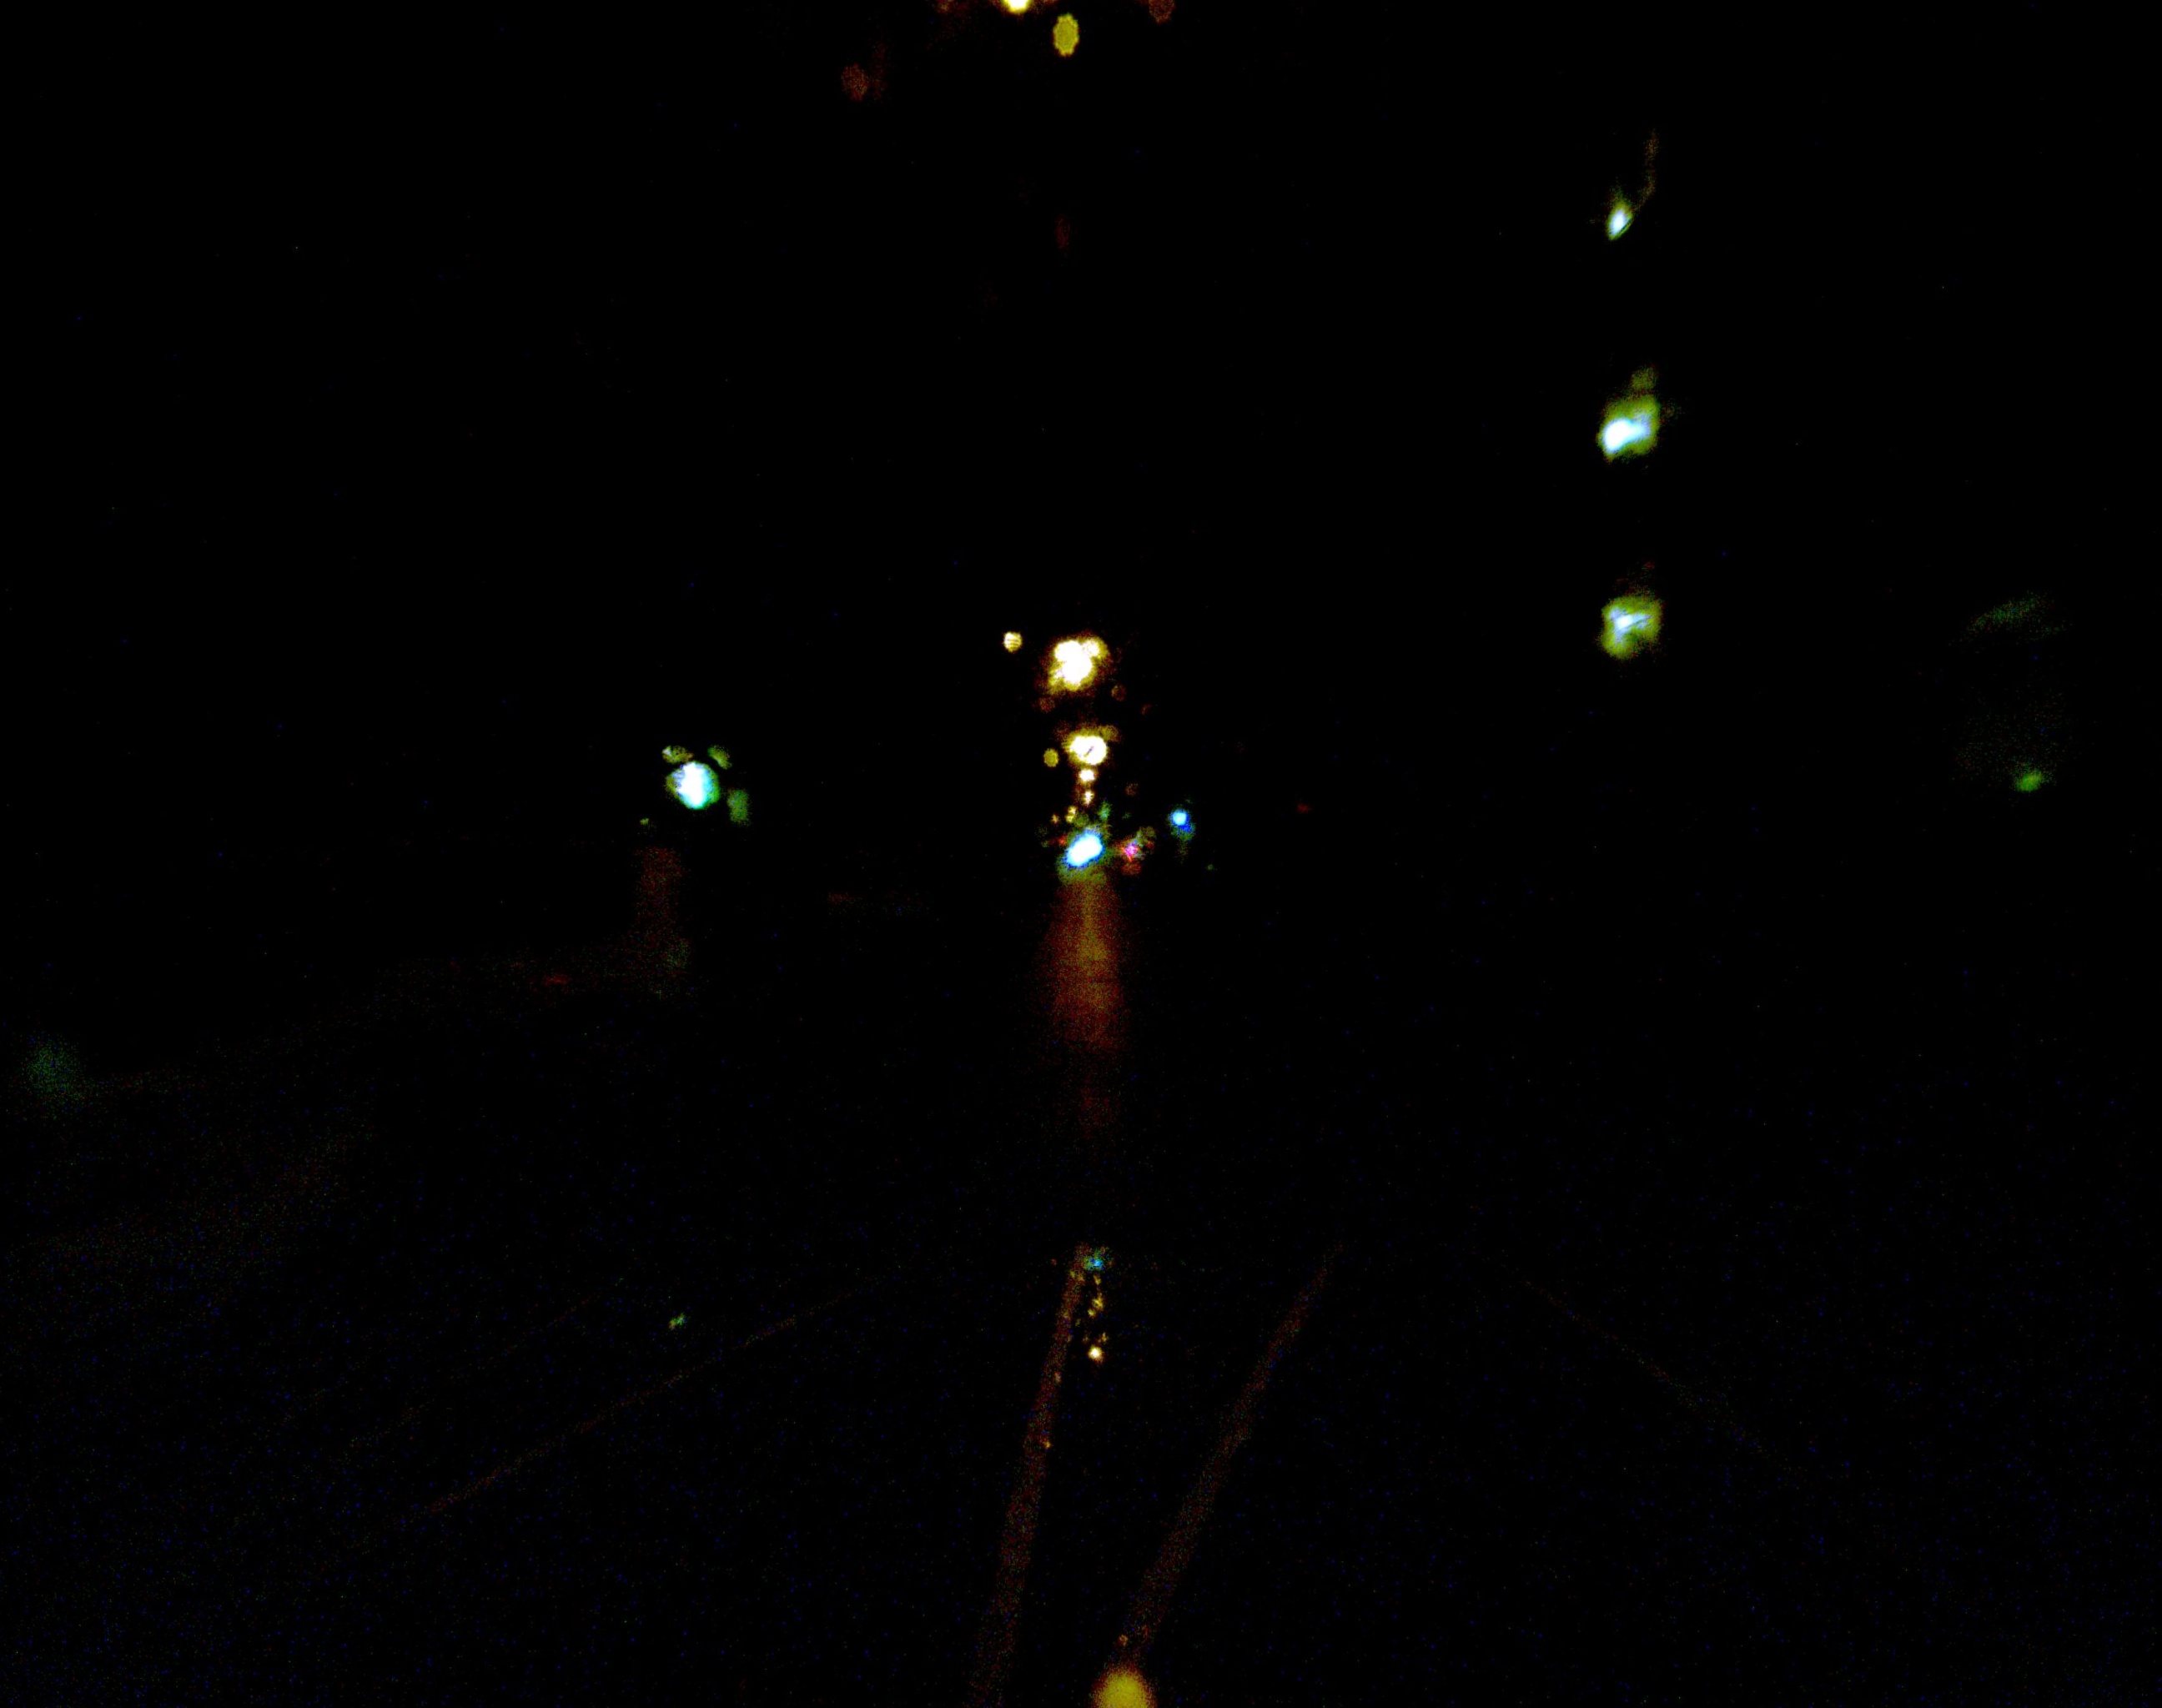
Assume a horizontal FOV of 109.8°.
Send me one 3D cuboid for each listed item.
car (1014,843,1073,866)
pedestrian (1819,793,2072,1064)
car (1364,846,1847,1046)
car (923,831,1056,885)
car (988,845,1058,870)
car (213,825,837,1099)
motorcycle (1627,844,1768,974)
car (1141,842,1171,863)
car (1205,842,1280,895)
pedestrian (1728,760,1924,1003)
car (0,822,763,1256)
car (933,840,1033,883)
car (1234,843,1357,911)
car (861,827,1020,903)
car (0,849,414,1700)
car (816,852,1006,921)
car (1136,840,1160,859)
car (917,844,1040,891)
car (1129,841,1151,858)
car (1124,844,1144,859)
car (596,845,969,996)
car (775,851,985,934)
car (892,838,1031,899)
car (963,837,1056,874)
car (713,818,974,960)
[{"bbox_3d":[-2.778,0.028,55.654,3.939,1.553,1.707,1,1,-22],"label":"car"},{"bbox_3d":[6.379,0.501,5.683,0.676,1.822,1.078,-2,1,3],"label":"pedestrian"},{"bbox_3d":[4.907,0.674,8.267,1.851,1.470,5.030,-1,1,1],"label":"car"},{"bbox_3d":[-3.565,0.177,29.727,4.719,1.969,1.974,1,1,-28],"label":"car"},{"bbox_3d":[-3.610,0.232,47.007,3.939,1.455,1.707,1,1,-22],"label":"car"},{"bbox_3d":[-4.261,0.676,6.471,3.801,1.703,1.744,1,1,-34],"label":"car"},{"bbox_3d":[7.532,0.614,9.363,0.538,1.462,1.457,-2,1,0],"label":"motorcycle"},{"bbox_3d":[5.610,-0.107,56.982,1.851,1.470,3.734,-2,1,1],"label":"car"},{"bbox_3d":[5.018,0.394,24.035,1.720,1.470,3.786,-2,1,3],"label":"car"},{"bbox_3d":[7.287,0.248,7.508,0.801,2.228,1.116,0,1,0],"label":"pedestrian"},{"bbox_3d":[-3.946,0.720,4.212,3.747,1.703,1.767,1,1,-34],"label":"car"},{"bbox_3d":[-4.197,0.310,32.548,3.938,1.732,1.707,1,1,-21],"label":"car"},{"bbox_3d":[5.126,0.471,18.765,1.721,1.470,4.158,-1,1,-2],"label":"car"},{"bbox_3d":[-3.870,0.276,21.170,3.942,1.931,1.738,1,1,-36],"label":"car"},{"bbox_3d":[-4.177,0.766,1.288,4.270,1.564,1.767,1,1,-28],"label":"car"},{"bbox_3d":[-3.994,0.691,18.097,4.064,1.445,1.674,-1,1,-34],"label":"car"},{"bbox_3d":[6.012,-0.410,68.873,1.851,1.571,3.734,-2,1,1],"label":"car"},{"bbox_3d":[-3.612,0.468,26.969,3.941,1.541,1.738,1,1,-33],"label":"car"},{"bbox_3d":[5.753,-0.450,73.922,1.851,1.571,3.734,-2,1,1],"label":"car"},{"bbox_3d":[5.666,-0.271,81.986,1.851,1.571,3.734,-2,1,1],"label":"car"},{"bbox_3d":[-3.705,0.723,9.766,4.078,1.588,1.829,1,1,-27],"label":"car"},{"bbox_3d":[-3.968,0.709,15.120,3.712,1.445,1.654,1,1,-31],"label":"car"},{"bbox_3d":[-3.738,0.432,23.952,3.942,1.783,1.738,1,1,-36],"label":"car"},{"bbox_3d":[-3.320,0.071,35.313,3.938,1.610,1.707,1,1,-21],"label":"car"},{"bbox_3d":[-3.858,0.500,12.537,3.747,2.017,1.717,1,1,-34],"label":"car"}]
